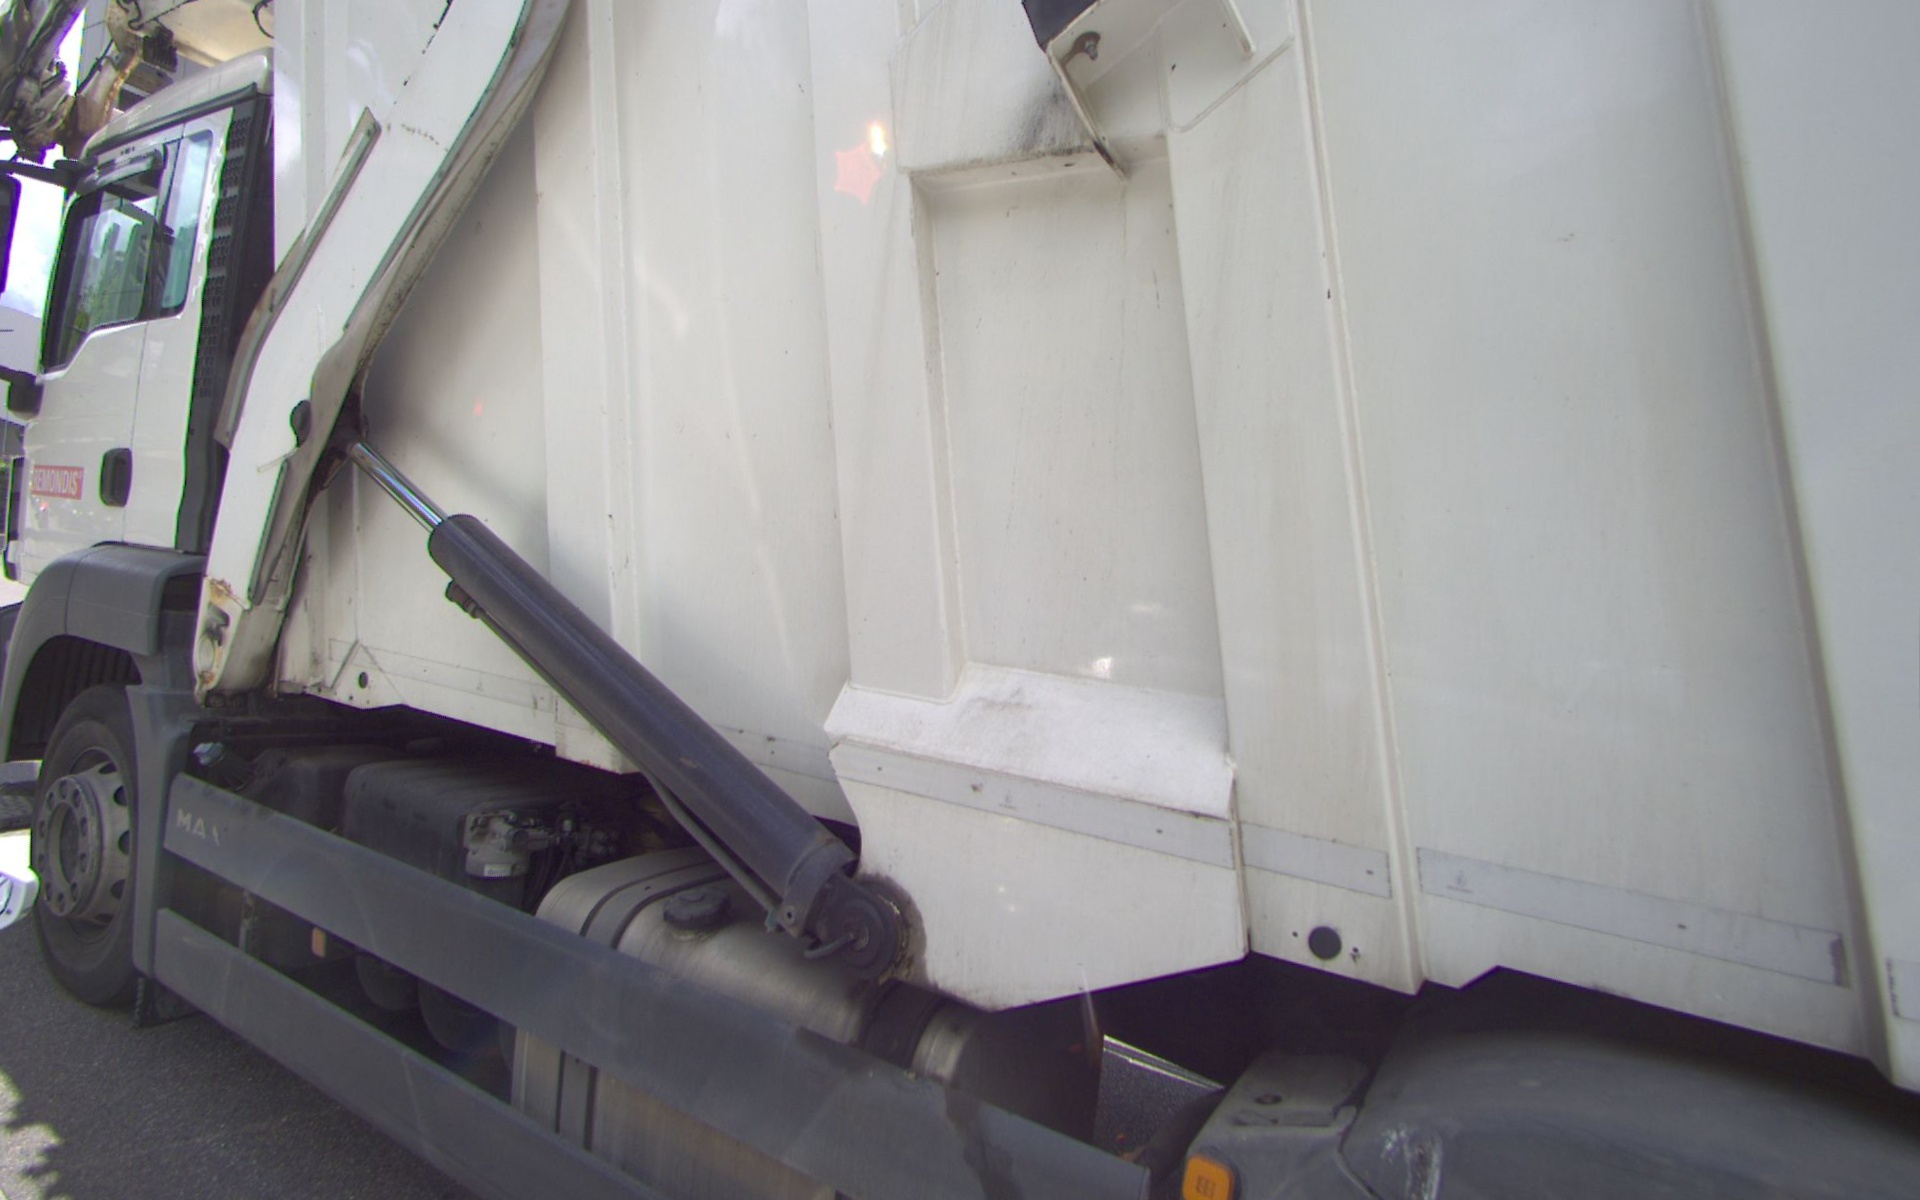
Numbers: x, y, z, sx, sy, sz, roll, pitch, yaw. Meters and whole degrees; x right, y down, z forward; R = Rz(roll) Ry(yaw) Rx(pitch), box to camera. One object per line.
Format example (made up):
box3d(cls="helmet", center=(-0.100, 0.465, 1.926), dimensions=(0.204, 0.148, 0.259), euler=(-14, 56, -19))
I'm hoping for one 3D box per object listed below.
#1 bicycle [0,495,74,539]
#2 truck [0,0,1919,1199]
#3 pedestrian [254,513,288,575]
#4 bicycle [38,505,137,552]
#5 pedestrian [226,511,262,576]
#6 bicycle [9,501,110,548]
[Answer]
box3d(cls="bicycle", center=(-29.290, -2.635, 31.485), dimensions=(2.197, 1.099, 0.474), euler=(8, -1, -23))
box3d(cls="truck", center=(1.110, -0.331, 2.175), dimensions=(10.003, 3.958, 2.494), euler=(6, -1, 31))
box3d(cls="pedestrian", center=(-21.178, -1.722, 30.946), dimensions=(0.704, 1.818, 0.688), euler=(4, 3, -30))
box3d(cls="bicycle", center=(-27.011, -2.204, 31.189), dimensions=(2.166, 1.099, 0.474), euler=(8, -1, -23))
box3d(cls="pedestrian", center=(-21.166, -1.666, 29.750), dimensions=(0.706, 1.818, 0.635), euler=(4, 4, -42))
box3d(cls="bicycle", center=(-28.005, -2.331, 31.321), dimensions=(2.197, 1.099, 0.474), euler=(8, -1, -23))
